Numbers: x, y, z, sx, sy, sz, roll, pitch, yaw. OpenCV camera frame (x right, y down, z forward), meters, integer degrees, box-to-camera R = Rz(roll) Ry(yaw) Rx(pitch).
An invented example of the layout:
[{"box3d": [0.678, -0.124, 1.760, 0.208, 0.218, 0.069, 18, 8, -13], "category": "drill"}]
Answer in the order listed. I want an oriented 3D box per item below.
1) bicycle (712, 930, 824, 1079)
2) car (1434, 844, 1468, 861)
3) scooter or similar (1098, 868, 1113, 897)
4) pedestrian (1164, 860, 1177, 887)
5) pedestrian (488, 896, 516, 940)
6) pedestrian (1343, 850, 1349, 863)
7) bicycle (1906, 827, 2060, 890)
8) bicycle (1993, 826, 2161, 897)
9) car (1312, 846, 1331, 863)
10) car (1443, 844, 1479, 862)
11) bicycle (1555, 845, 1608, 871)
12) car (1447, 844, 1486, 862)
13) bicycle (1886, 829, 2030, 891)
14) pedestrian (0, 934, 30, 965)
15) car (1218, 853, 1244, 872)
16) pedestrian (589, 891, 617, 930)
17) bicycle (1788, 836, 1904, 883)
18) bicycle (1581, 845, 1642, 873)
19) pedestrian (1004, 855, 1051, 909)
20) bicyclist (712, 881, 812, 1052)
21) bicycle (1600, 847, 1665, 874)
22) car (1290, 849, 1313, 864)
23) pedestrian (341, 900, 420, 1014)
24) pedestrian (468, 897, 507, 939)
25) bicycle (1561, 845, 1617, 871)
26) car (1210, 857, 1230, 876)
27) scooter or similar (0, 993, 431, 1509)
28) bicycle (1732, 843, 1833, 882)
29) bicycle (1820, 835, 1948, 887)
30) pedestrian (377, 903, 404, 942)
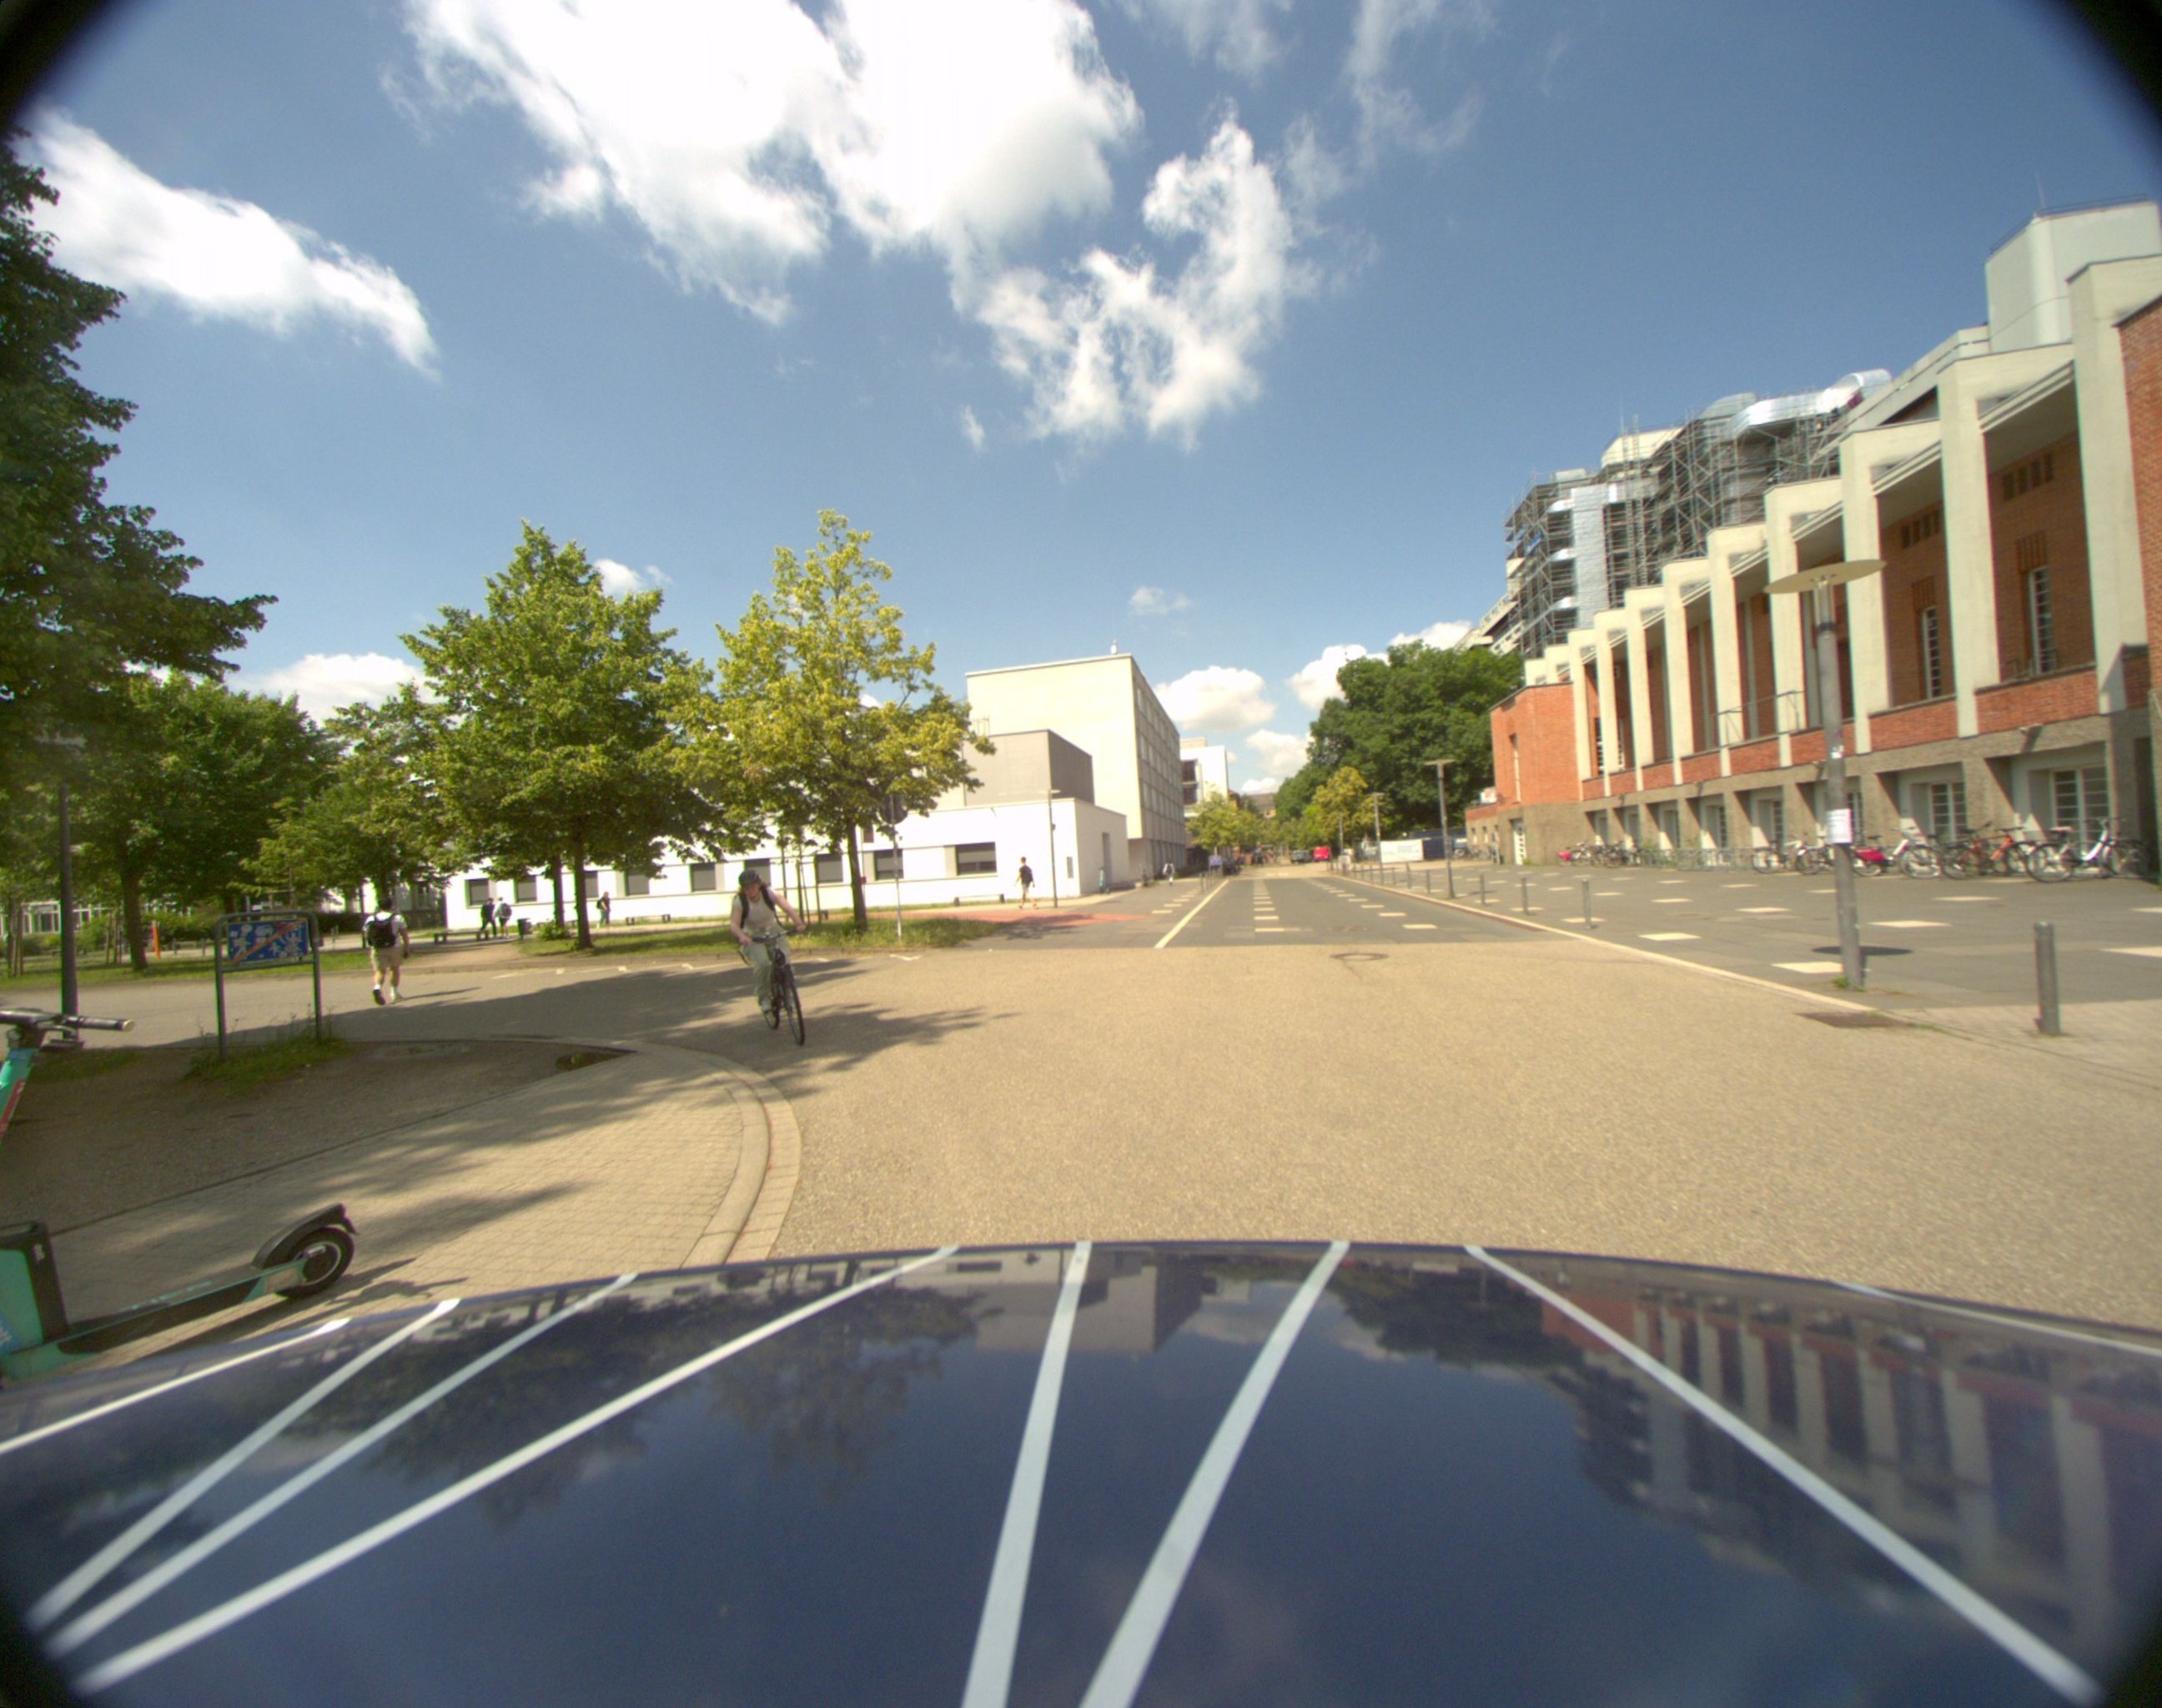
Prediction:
[{"box3d": [-3.167, 1.394, 7.560, 0.676, 1.066, 2.131, -5, 1, -30], "category": "bicycle"}, {"box3d": [29.089, -0.081, 59.723, 2.322, 1.173, 0.480, -4, 0, 14], "category": "car"}, {"box3d": [1.091, 1.259, 33.794, 0.326, 1.228, 1.075, -4, 0, 15], "category": "scooter or similar"}, {"box3d": [4.994, 1.084, 42.448, 0.524, 1.430, 0.701, -4, 0, 16], "category": "pedestrian"}, {"box3d": [-24.143, 2.666, 31.686, 0.712, 1.759, 0.828, -4, 0, -28], "category": "pedestrian"}, {"box3d": [31.659, 0.262, 90.792, 0.642, 1.529, 0.454, -4, 0, 24], "category": "pedestrian"}, {"box3d": [18.318, 0.098, 15.479, 2.025, 1.119, 0.593, -4, 0, 14], "category": "bicycle"}, {"box3d": [17.955, 0.136, 13.633, 2.025, 1.119, 0.667, -4, 0, 12], "category": "bicycle"}, {"box3d": [28.440, 0.034, 89.751, 1.910, 1.870, 4.006, -4, -1, 19], "category": "car"}, {"box3d": [28.657, -0.093, 57.302, 2.287, 1.173, 0.525, -4, 0, 14], "category": "car"}, {"box3d": [22.926, 0.180, 34.826, 1.954, 1.024, 0.542, -4, 0, 12], "category": "bicycle"}, {"box3d": [28.172, -0.097, 55.613, 2.366, 1.173, 0.795, -4, 0, 14], "category": "car"}, {"box3d": [18.628, 0.132, 16.176, 2.024, 1.119, 0.439, -5, -1, 17], "category": "bicycle"}, {"box3d": [-62.543, 5.613, 44.571, 0.634, 1.712, 0.797, -4, 0, 12], "category": "pedestrian"}, {"box3d": [14.161, 0.805, 71.633, 1.937, 1.671, 3.473, -4, -1, 17], "category": "car"}, {"box3d": [-21.434, 2.511, 34.073, 0.724, 1.678, 0.629, -4, 0, 12], "category": "pedestrian"}, {"box3d": [19.564, 0.137, 19.478, 2.025, 1.054, 0.664, -4, 0, 12], "category": "bicycle"}, {"box3d": [22.039, 0.192, 31.592, 1.954, 1.024, 0.530, -4, 0, 12], "category": "bicycle"}, {"box3d": [-1.836, 0.963, 26.051, 1.168, 1.789, 1.023, -2, -1, 43], "category": "pedestrian"}, {"box3d": [-3.132, 1.029, 7.415, 0.676, 1.470, 1.060, -5, 2, -29], "category": "bicyclist"}, {"box3d": [21.820, 0.259, 30.087, 1.954, 0.935, 0.569, -4, 0, 12], "category": "bicycle"}, {"box3d": [33.617, 0.345, 115.640, 2.022, 2.079, 4.441, -4, -1, 34], "category": "car"}, {"box3d": [-11.288, 1.640, 12.252, 0.581, 1.734, 0.642, -4, 0, 15], "category": "pedestrian"}, {"box3d": [-26.013, 2.798, 33.299, 1.092, 1.765, 0.795, -4, 0, 17], "category": "pedestrian"}, {"box3d": [22.669, 0.177, 33.920, 1.954, 1.024, 0.519, -4, 0, 12], "category": "bicycle"}, {"box3d": [11.664, 1.030, 63.684, 1.550, 1.377, 3.457, -4, -1, 11], "category": "car"}, {"box3d": [-3.201, 1.222, 2.548, 0.553, 1.246, 1.384, -4, 0, 21], "category": "scooter or similar"}, {"box3d": [19.552, 0.246, 21.207, 1.954, 0.954, 0.685, -4, 0, 12], "category": "bicycle"}, {"box3d": [18.792, 0.161, 17.822, 2.013, 1.076, 0.622, -4, 0, 12], "category": "bicycle"}, {"box3d": [-30.913, 3.070, 34.022, 0.728, 1.647, 0.714, -4, 0, -37], "category": "pedestrian"}]
